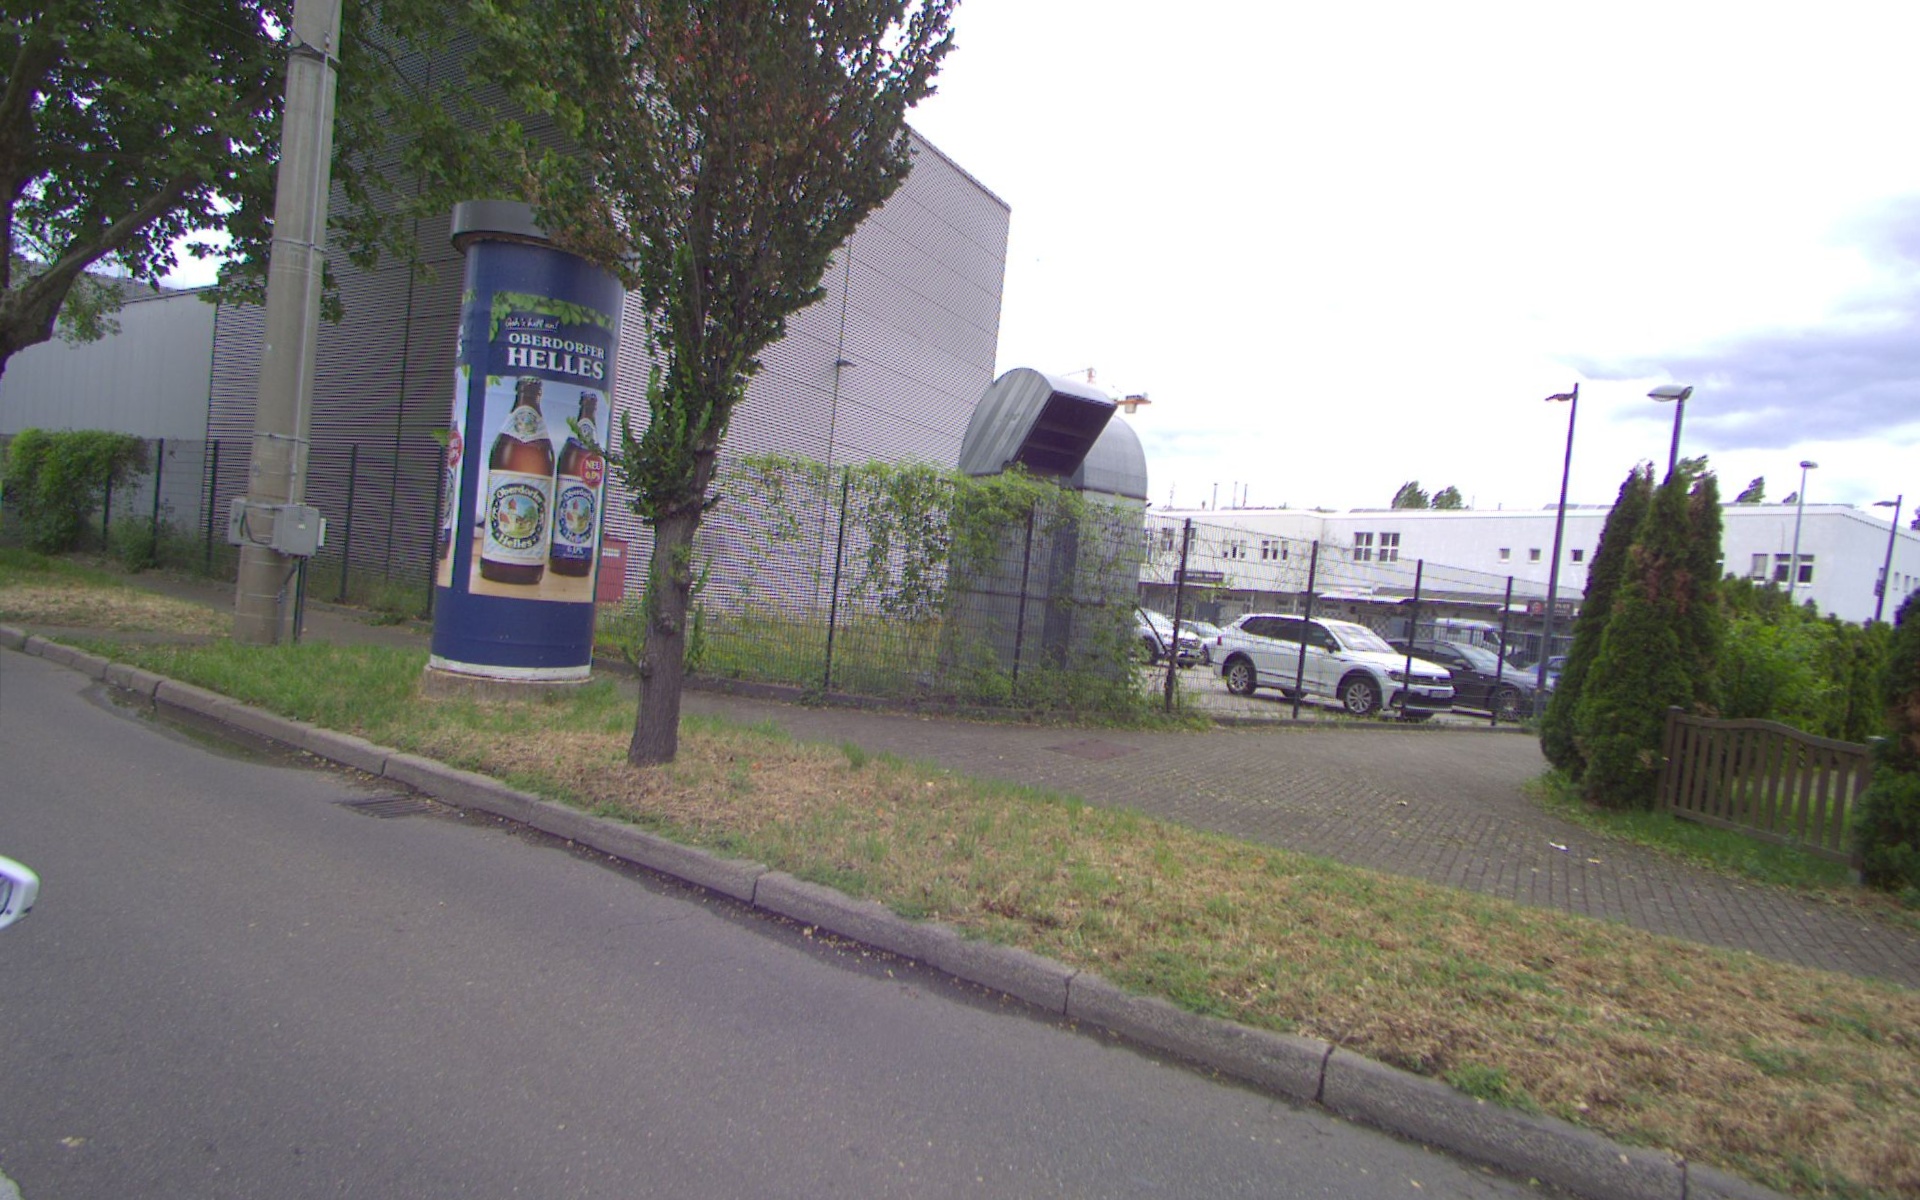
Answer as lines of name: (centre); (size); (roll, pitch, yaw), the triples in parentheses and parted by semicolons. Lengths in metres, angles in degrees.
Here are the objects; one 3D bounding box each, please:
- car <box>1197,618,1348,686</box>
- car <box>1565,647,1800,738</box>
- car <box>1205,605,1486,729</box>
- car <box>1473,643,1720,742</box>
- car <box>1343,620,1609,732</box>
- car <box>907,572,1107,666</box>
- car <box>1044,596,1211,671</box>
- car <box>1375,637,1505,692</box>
car: (10.029, 1.637, 32.593); (1.982, 1.668, 4.233); (8, -2, -34)
car: (18.751, 2.365, 26.322); (1.979, 1.686, 4.464); (6, 1, -31)
car: (6.949, 1.153, 18.657); (1.979, 1.686, 4.464); (6, 1, -31)
car: (15.083, 2.156, 24.100); (1.979, 1.686, 4.464); (6, 1, -31)
car: (10.615, 1.517, 21.062); (1.979, 1.686, 4.464); (6, 1, -31)
car: (1.121, 0.458, 24.234); (4.197, 1.668, 1.999); (6, -2, 29)
car: (4.849, 0.949, 29.592); (4.418, 1.687, 1.999); (6, 1, -1)
car: (19.390, 2.595, 40.785); (1.982, 1.668, 4.233); (8, -2, -34)
